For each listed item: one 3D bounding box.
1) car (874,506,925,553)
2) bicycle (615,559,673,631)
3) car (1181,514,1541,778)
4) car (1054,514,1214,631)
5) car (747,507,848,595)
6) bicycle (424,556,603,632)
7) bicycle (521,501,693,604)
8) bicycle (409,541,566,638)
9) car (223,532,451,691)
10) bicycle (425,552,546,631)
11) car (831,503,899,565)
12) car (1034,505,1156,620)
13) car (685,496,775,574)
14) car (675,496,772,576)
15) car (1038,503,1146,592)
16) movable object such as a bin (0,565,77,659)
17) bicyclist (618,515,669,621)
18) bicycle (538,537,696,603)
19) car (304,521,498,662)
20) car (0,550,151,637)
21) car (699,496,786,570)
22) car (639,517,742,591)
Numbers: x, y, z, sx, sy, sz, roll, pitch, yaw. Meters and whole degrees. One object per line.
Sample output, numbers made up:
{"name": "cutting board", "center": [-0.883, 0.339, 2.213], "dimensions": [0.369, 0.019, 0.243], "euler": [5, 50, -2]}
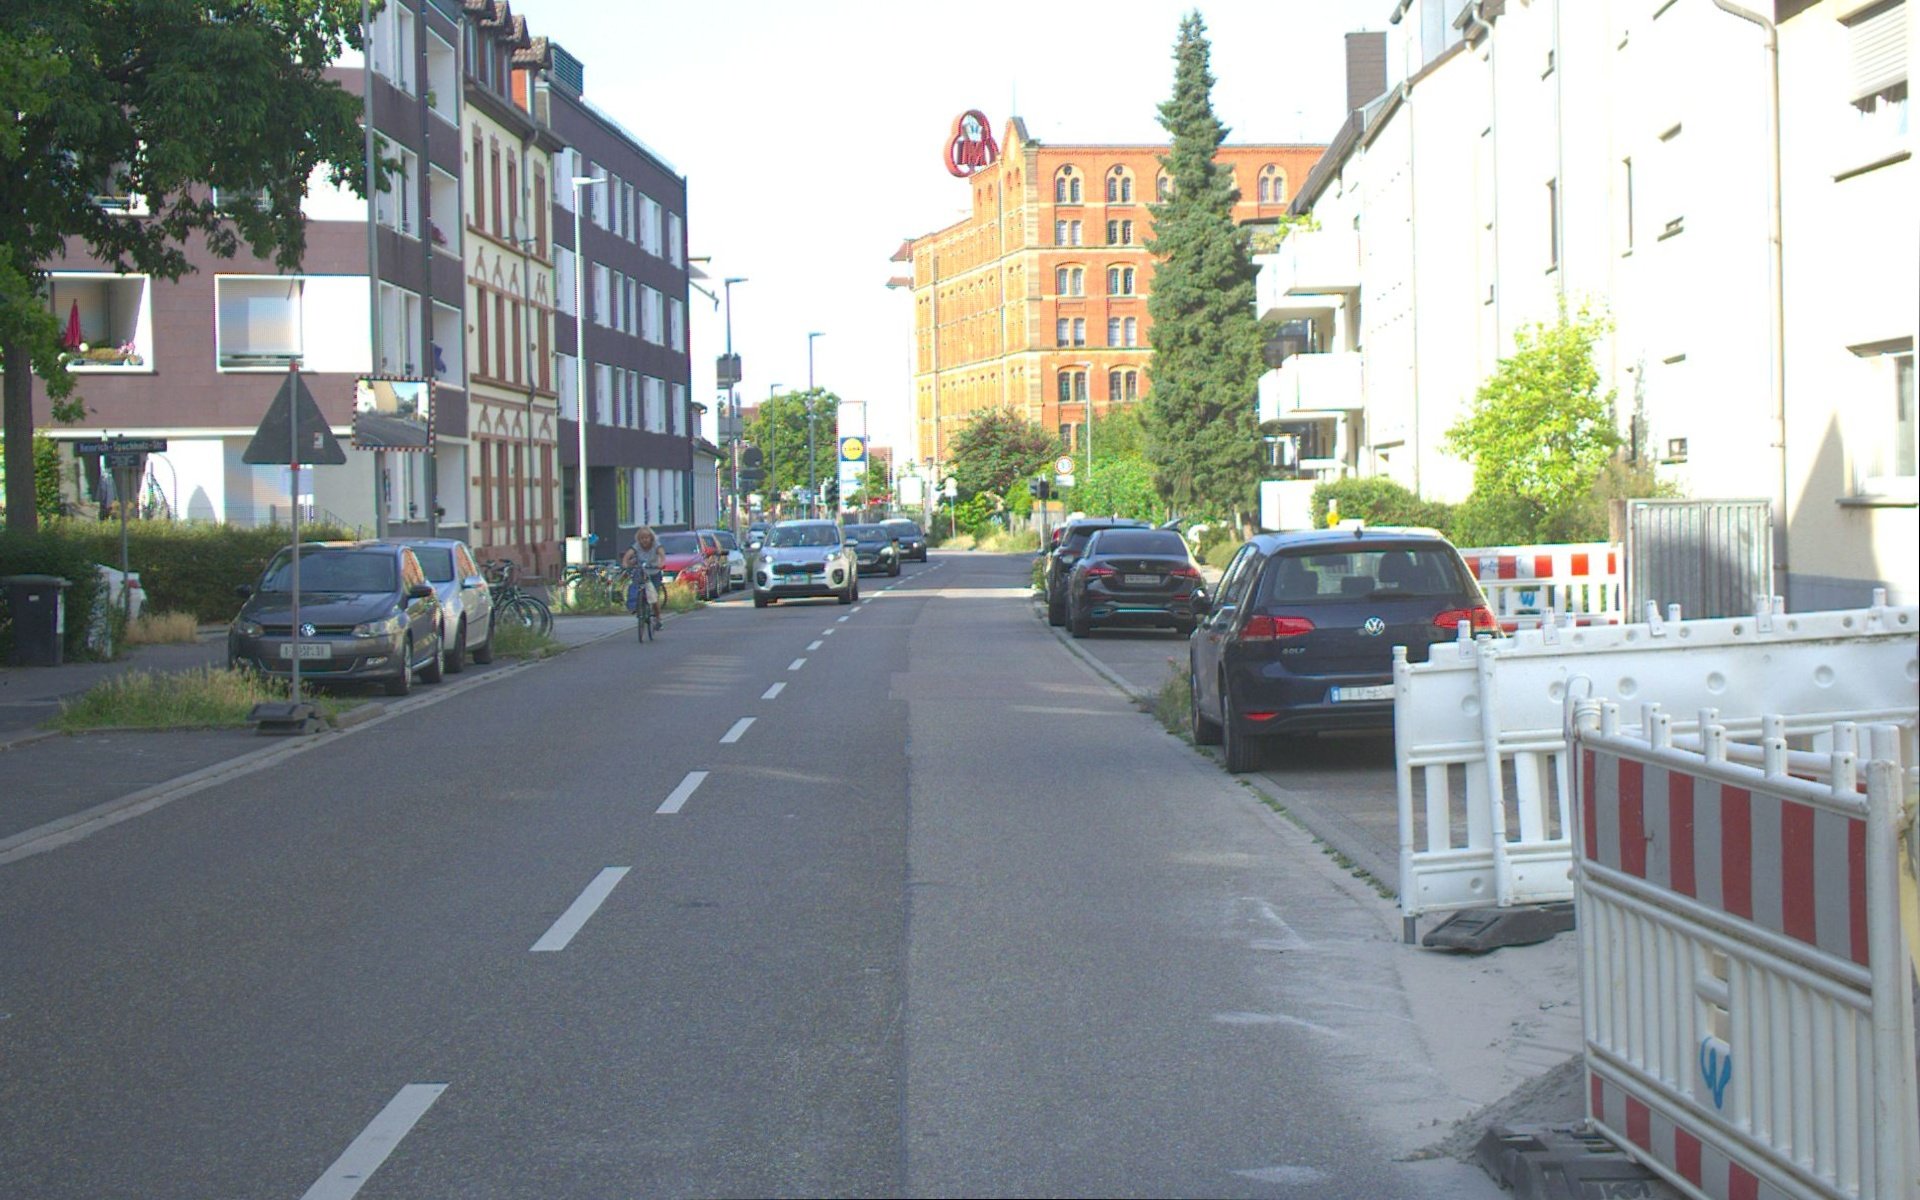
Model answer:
{"name": "car", "center": [-2.179, -2.535, 123.731], "dimensions": [1.763, 1.610, 4.000], "euler": [-2, 2, -1]}
{"name": "bicycle", "center": [-4.353, -0.078, 47.427], "dimensions": [0.608, 0.939, 1.811], "euler": [-1, 1, 1]}
{"name": "car", "center": [2.473, 0.221, 22.084], "dimensions": [1.830, 1.477, 3.943], "euler": [-2, 2, 0]}
{"name": "car", "center": [2.308, -0.406, 46.507], "dimensions": [1.859, 1.467, 4.000], "euler": [-1, 1, -1]}
{"name": "car", "center": [-3.107, -0.975, 66.500], "dimensions": [1.763, 1.610, 4.000], "euler": [-2, 2, -1]}
{"name": "bicycle", "center": [-5.960, -0.084, 46.006], "dimensions": [2.339, 0.967, 0.708], "euler": [-1, 1, -5]}
{"name": "bicycle", "center": [-6.342, -0.857, 61.952], "dimensions": [2.918, 1.771, 1.202], "euler": [-1, 1, 1]}
{"name": "bicycle", "center": [-6.192, -0.142, 45.137], "dimensions": [2.000, 1.213, 0.708], "euler": [-1, 1, -6]}
{"name": "car", "center": [-5.983, 0.069, 33.371], "dimensions": [1.573, 1.415, 3.804], "euler": [0, 2, -1]}
{"name": "bicycle", "center": [-6.439, -0.120, 46.718], "dimensions": [1.584, 1.037, 0.708], "euler": [-1, 1, -5]}
{"name": "car", "center": [-2.584, -1.814, 94.156], "dimensions": [1.763, 1.610, 4.000], "euler": [-2, 2, -1]}
{"name": "car", "center": [2.002, -0.590, 51.744], "dimensions": [1.601, 1.640, 3.685], "euler": [-1, 1, -1]}
{"name": "car", "center": [-5.833, -1.669, 87.551], "dimensions": [1.993, 1.905, 3.689], "euler": [-1, 1, 0]}
{"name": "car", "center": [-5.642, -1.554, 82.434], "dimensions": [1.993, 1.829, 3.689], "euler": [-1, 1, 0]}
{"name": "car", "center": [2.419, -0.996, 63.810], "dimensions": [1.763, 1.521, 4.000], "euler": [-2, 2, -1]}
{"name": "movable object such as a bin", "center": [-10.622, 0.132, 39.449], "dimensions": [0.752, 1.036, 0.816], "euler": [2, 1, 0]}
{"name": "bicyclist", "center": [-4.357, -0.449, 47.410], "dimensions": [0.591, 1.437, 0.750], "euler": [-1, 1, 1]}
{"name": "bicycle", "center": [-6.346, -0.568, 63.732], "dimensions": [2.773, 1.140, 1.143], "euler": [-1, 1, 1]}
{"name": "car", "center": [-6.317, -0.139, 39.209], "dimensions": [1.676, 1.496, 4.001], "euler": [-1, 2, -2]}
{"name": "car", "center": [-14.587, -0.101, 53.620], "dimensions": [3.447, 1.284, 1.664], "euler": [-2, 2, -32]}
{"name": "car", "center": [-5.782, -1.796, 91.627], "dimensions": [1.993, 1.901, 4.000], "euler": [-1, 1, 0]}
{"name": "car", "center": [-5.584, -0.984, 71.641], "dimensions": [1.840, 1.459, 3.585], "euler": [-1, 1, 0]}
